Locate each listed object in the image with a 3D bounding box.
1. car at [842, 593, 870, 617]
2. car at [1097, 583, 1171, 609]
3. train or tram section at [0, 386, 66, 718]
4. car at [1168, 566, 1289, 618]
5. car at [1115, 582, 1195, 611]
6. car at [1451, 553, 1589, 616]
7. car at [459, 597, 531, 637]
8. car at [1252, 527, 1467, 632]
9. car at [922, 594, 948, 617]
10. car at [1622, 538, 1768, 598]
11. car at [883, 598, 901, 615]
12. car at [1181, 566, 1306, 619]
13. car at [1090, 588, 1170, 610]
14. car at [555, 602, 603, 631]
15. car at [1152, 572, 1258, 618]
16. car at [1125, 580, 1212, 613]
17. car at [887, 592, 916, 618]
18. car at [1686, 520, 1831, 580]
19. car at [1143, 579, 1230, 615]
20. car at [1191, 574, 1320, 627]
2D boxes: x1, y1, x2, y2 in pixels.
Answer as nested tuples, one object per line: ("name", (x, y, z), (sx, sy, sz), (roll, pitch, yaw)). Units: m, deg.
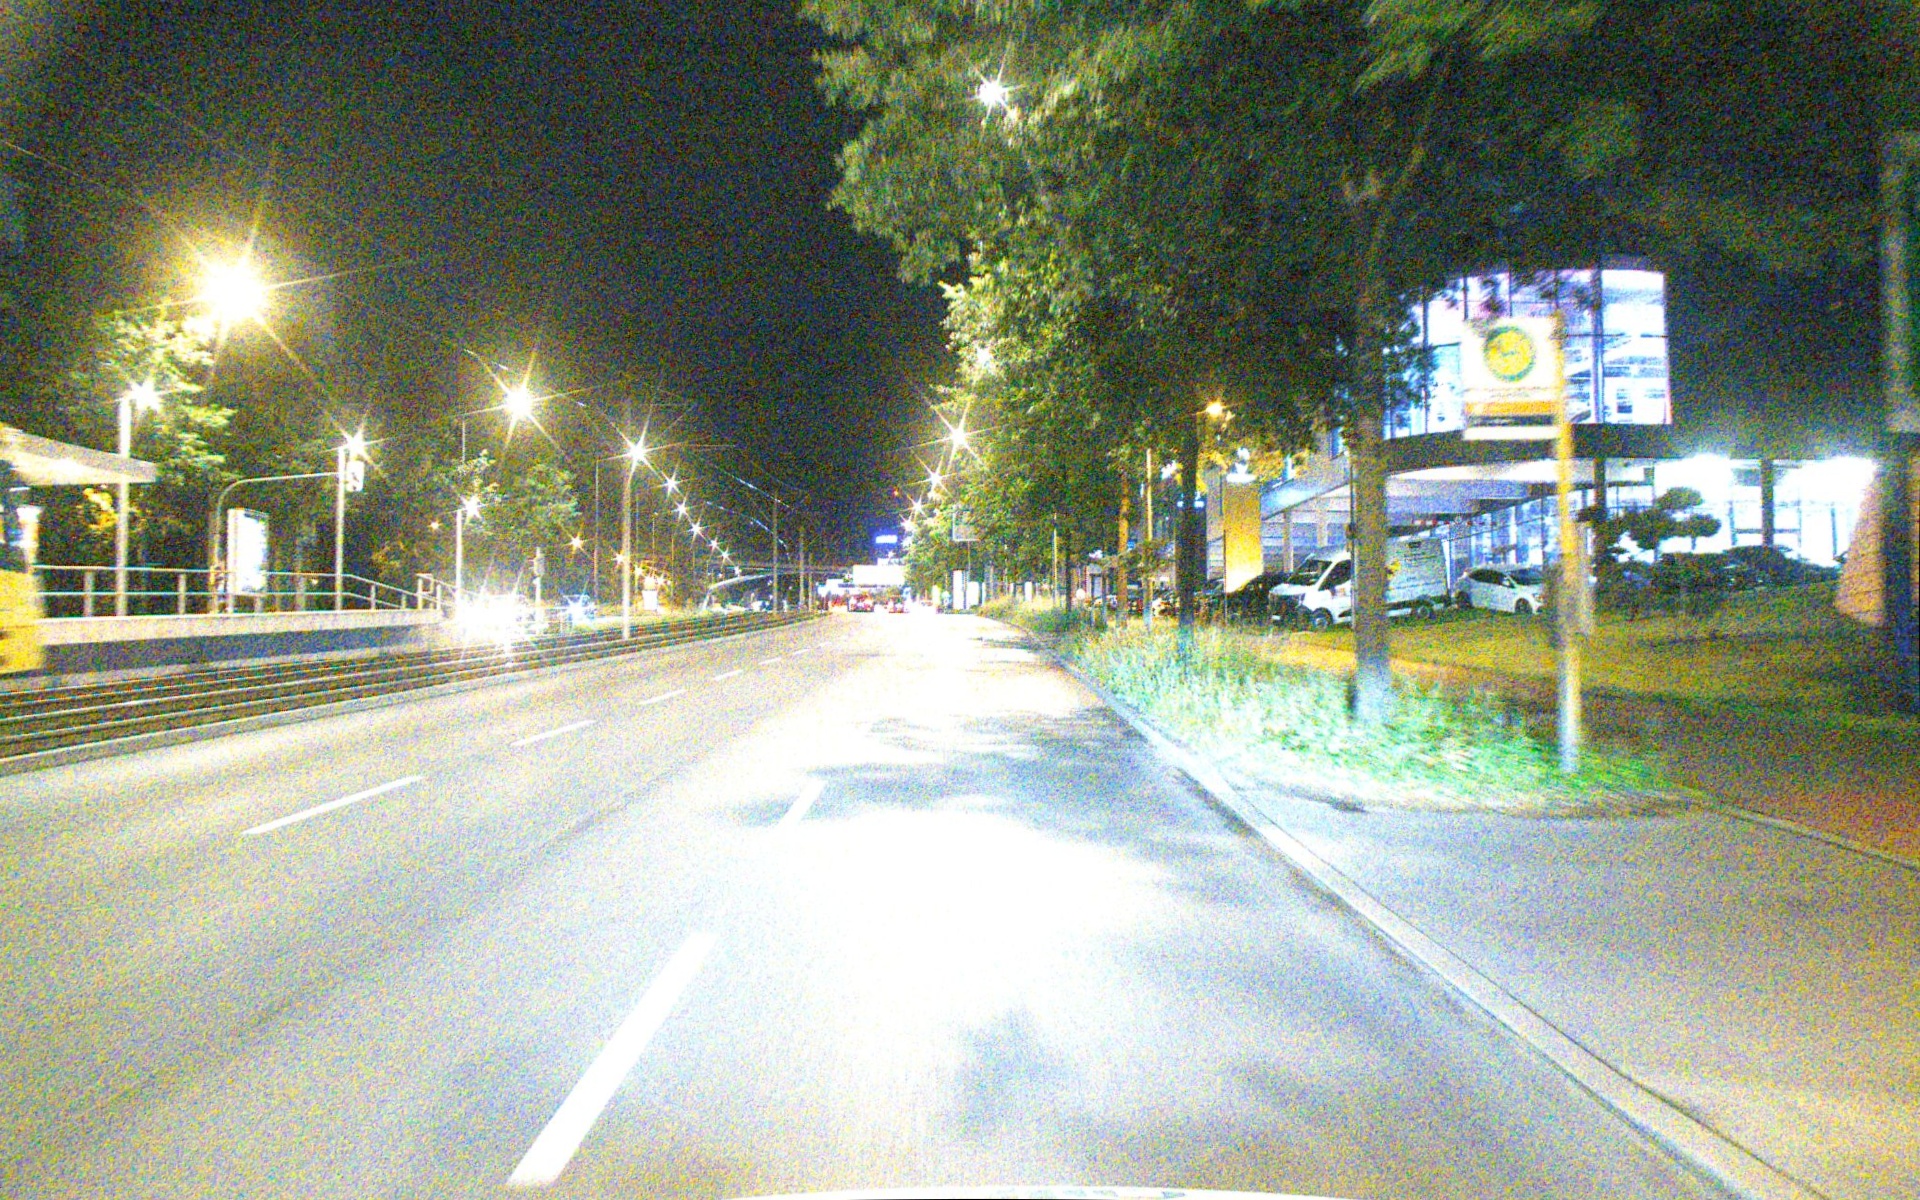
("car", (-8.770, 0.438, 139.843), (2.217, 2.049, 4.824), (0, 0, -1))
("car", (10.320, -0.248, 98.128), (3.926, 1.448, 1.899), (0, 1, -19))
("train or tram section", (-12.673, -0.552, 11.424), (2.702, 3.894, 18.671), (0, 0, 1))
("car", (10.999, -0.335, 67.815), (4.383, 1.716, 1.994), (-5, 1, -12))
("car", (10.625, -0.187, 90.034), (3.934, 1.416, 1.813), (-2, 2, -23))
("car", (16.998, -0.445, 50.370), (1.781, 1.742, 3.940), (-3, 0, -23))
("car", (-18.296, 0.705, 65.257), (1.748, 1.523, 4.173), (0, -1, -1))
("car", (12.112, -0.634, 50.180), (5.925, 2.572, 2.272), (-6, 1, -18))
("car", (-2.388, 0.548, 157.201), (2.378, 2.150, 4.824), (0, 0, -1))
("car", (22.711, -0.962, 51.251), (1.770, 1.604, 3.940), (-6, 1, -23))
("car", (-7.595, 0.773, 184.830), (1.848, 1.892, 3.999), (0, 0, -1))
("car", (11.111, -0.307, 64.980), (4.382, 1.841, 1.994), (-3, 1, -12))
("car", (10.352, -0.077, 100.851), (4.572, 1.286, 1.932), (0, 1, -26))
("car", (-20.524, 0.871, 89.306), (1.626, 1.543, 3.911), (0, 0, 1))
("car", (10.474, -0.221, 70.771), (4.009, 1.595, 1.849), (-5, 1, -12))
("car", (10.662, -0.159, 84.575), (3.960, 1.397, 1.817), (-4, 1, -17))
("car", (-4.976, 0.434, 141.689), (2.308, 2.166, 4.824), (-2, 0, -1))
("car", (25.423, -1.568, 52.774), (1.753, 1.628, 3.940), (-6, 1, -23))
("car", (10.842, -0.143, 79.371), (3.739, 1.478, 1.711), (-3, 1, -15))
("car", (10.692, 0.016, 59.953), (4.128, 1.692, 1.955), (-3, 0, -12))
